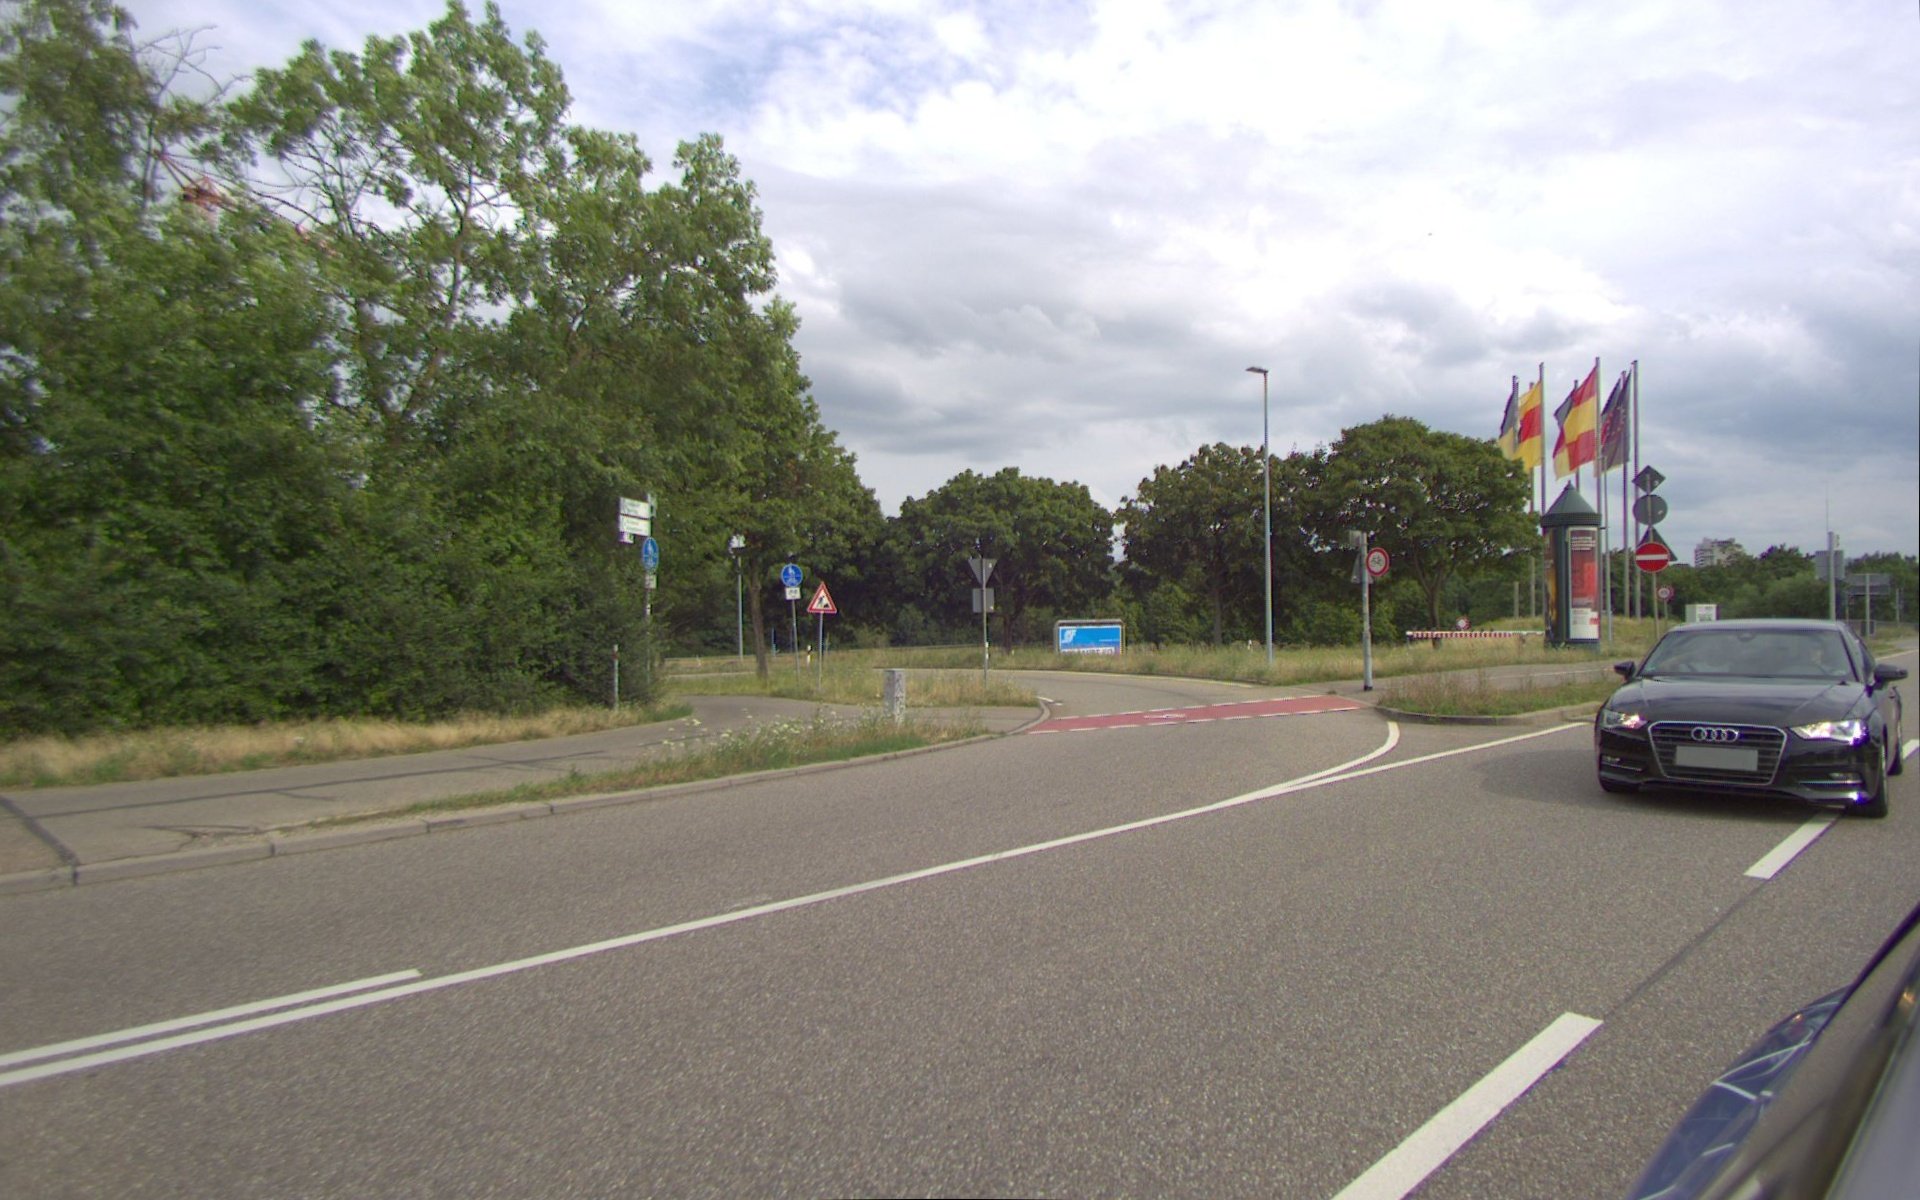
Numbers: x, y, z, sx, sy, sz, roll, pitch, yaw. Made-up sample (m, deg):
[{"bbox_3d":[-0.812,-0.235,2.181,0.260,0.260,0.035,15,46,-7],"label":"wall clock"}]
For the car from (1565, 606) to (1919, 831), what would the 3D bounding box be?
[{"bbox_3d":[7.027,0.766,8.716,4.649,1.381,1.850,0,0,-42],"label":"car"}]
